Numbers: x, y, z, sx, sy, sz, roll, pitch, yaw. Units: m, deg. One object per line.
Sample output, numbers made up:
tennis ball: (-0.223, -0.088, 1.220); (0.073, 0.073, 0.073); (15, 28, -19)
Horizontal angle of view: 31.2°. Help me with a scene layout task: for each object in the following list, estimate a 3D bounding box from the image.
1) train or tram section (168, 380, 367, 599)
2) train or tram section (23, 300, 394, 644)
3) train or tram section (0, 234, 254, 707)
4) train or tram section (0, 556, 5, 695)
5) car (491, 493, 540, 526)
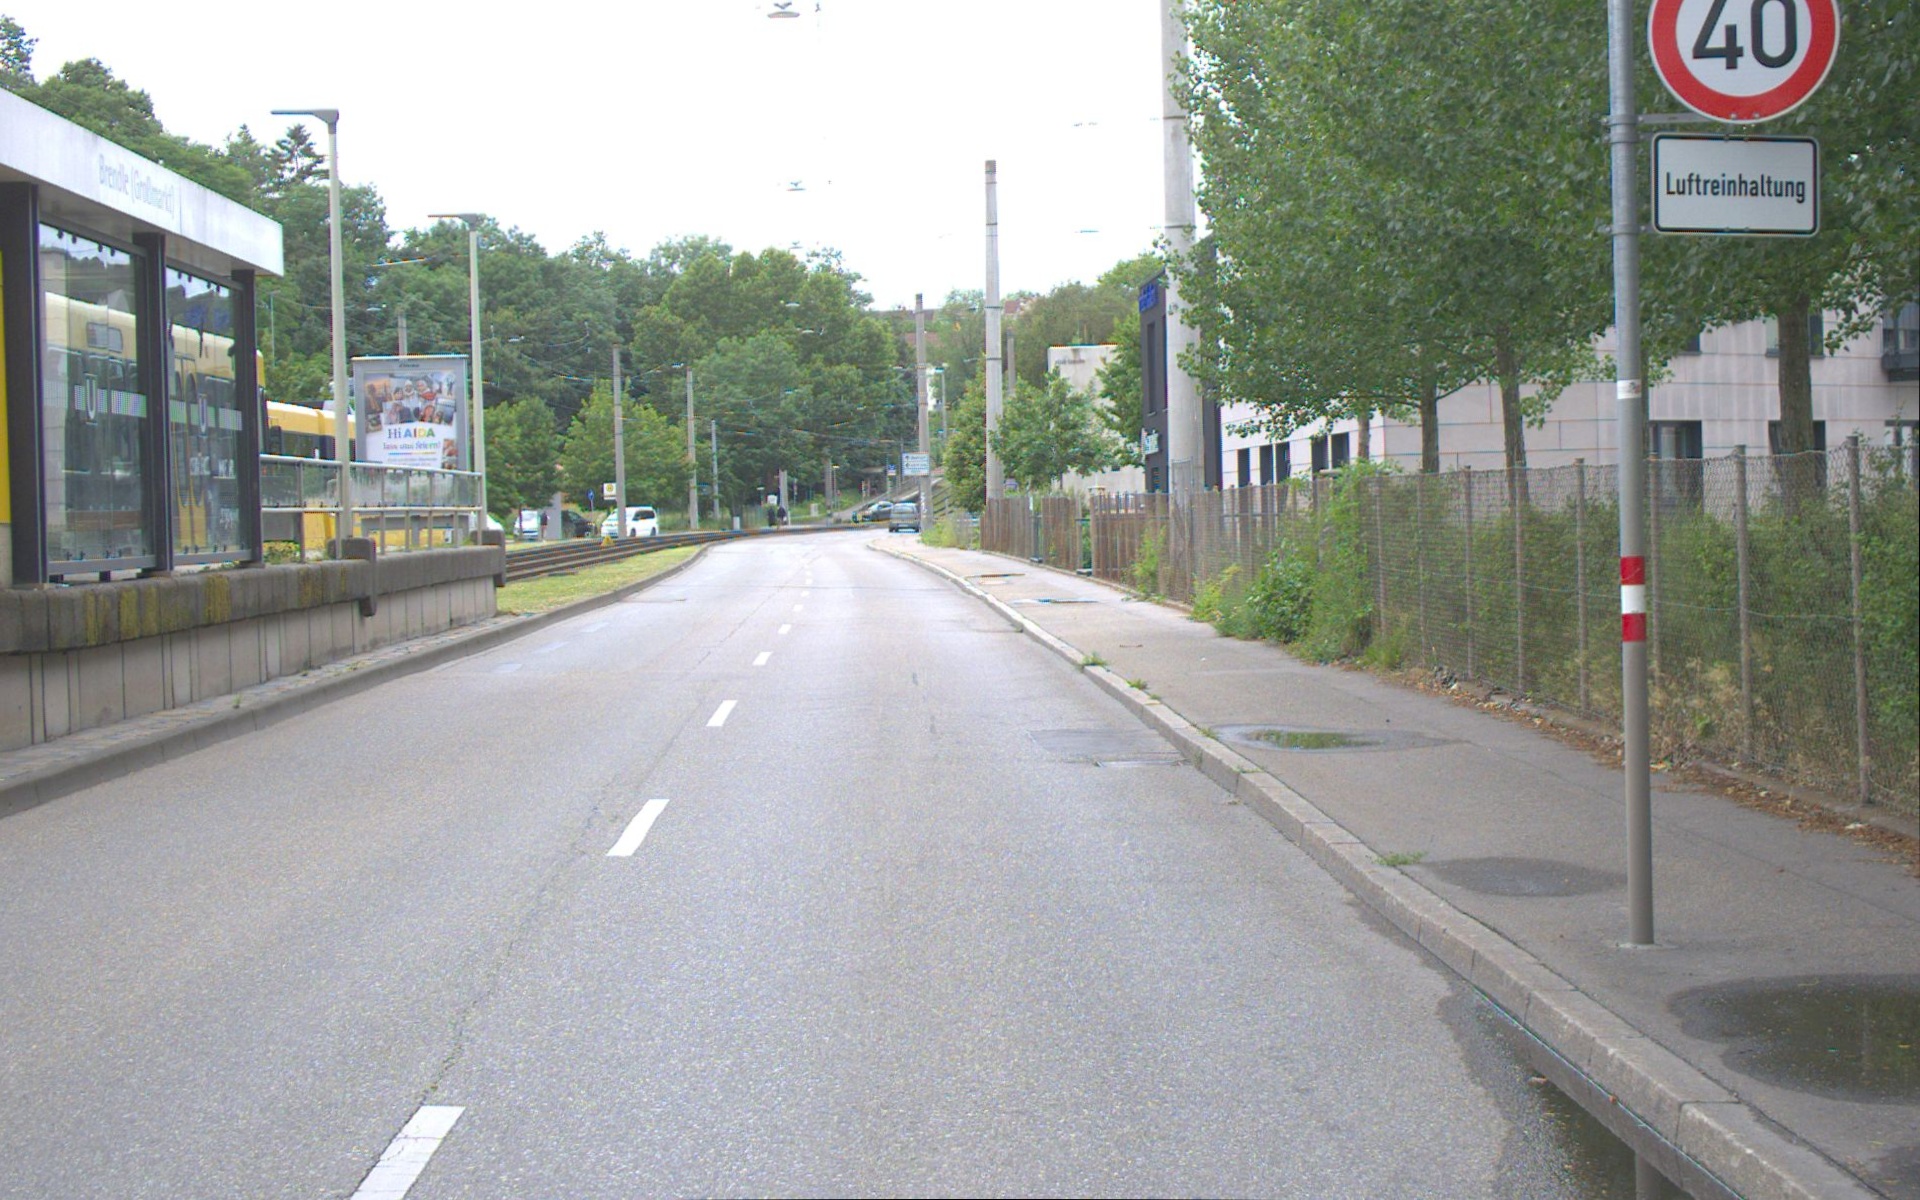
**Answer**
train or tram section: (-12.909, -2.019, 64.773); (1.993, 3.782, 9.180); (-2, 1, -1)
train or tram section: (-9.873, -1.735, 46.463); (2.971, 4.051, 10.198); (-2, 2, -2)
train or tram section: (-9.561, -1.269, 34.530); (2.740, 3.952, 11.914); (-2, 2, -2)
train or tram section: (-9.188, -0.931, 22.607); (2.740, 3.952, 11.914); (-2, 2, -2)
car: (-27.003, -5.470, 209.032); (1.828, 1.700, 4.141); (-2, -2, 9)
